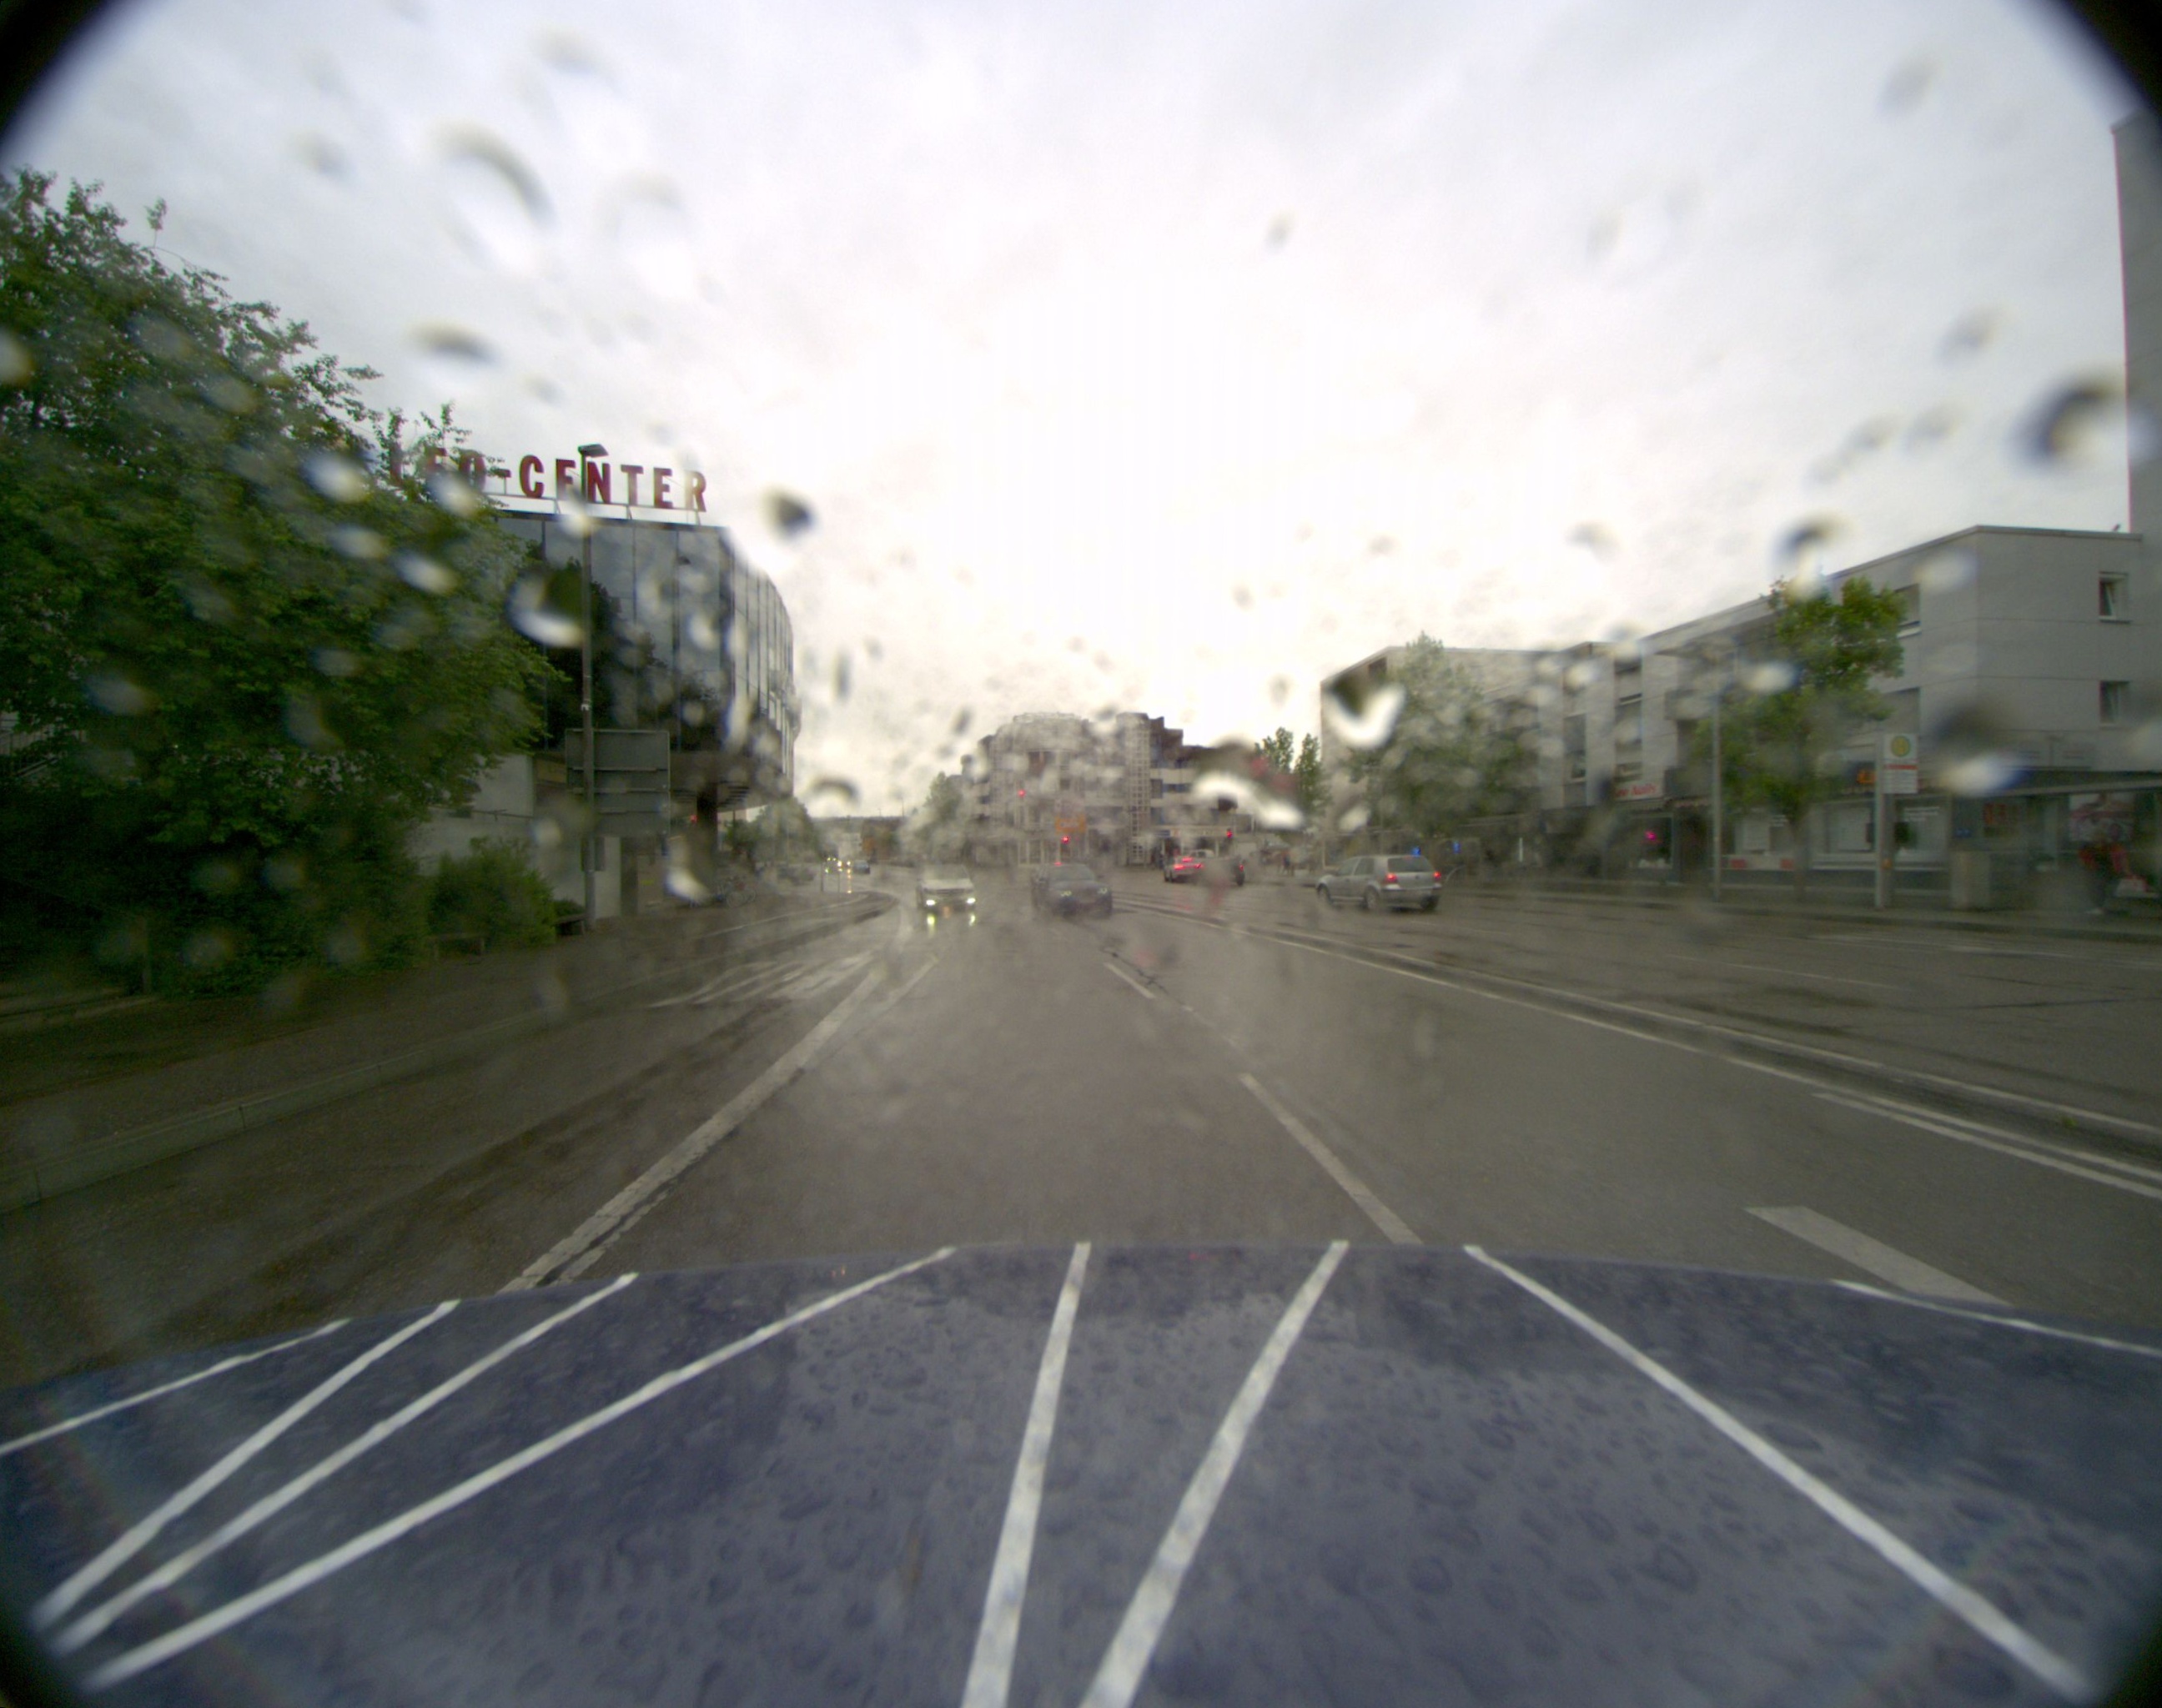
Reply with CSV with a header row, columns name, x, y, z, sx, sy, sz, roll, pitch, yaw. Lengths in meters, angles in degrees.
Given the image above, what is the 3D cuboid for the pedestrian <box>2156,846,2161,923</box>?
name,x,y,z,sx,sy,sz,roll,pitch,yaw
pedestrian,19.175,0.526,13.070,0.536,1.344,0.578,-1,1,-2

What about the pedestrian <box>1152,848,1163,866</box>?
name,x,y,z,sx,sy,sz,roll,pitch,yaw
pedestrian,7.168,0.271,71.302,0.838,1.733,0.585,-2,1,-2

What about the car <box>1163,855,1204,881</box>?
name,x,y,z,sx,sy,sz,roll,pitch,yaw
car,6.011,0.776,45.058,1.762,1.418,4.887,-1,0,0

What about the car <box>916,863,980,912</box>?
name,x,y,z,sx,sy,sz,roll,pitch,yaw
car,-4.799,1.121,26.943,1.764,1.540,4.321,-1,0,-16

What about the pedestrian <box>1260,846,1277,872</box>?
name,x,y,z,sx,sy,sz,roll,pitch,yaw
pedestrian,14.222,0.369,57.690,0.906,1.904,0.977,-1,0,-8

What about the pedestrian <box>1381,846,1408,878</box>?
name,x,y,z,sx,sy,sz,roll,pitch,yaw
pedestrian,16.312,0.398,39.542,1.010,1.636,0.726,-2,1,-8

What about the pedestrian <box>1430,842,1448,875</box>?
name,x,y,z,sx,sy,sz,roll,pitch,yaw
pedestrian,18.845,0.227,40.032,0.549,1.740,0.680,-1,0,-6

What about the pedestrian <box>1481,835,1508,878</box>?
name,x,y,z,sx,sy,sz,roll,pitch,yaw
pedestrian,19.414,0.115,35.676,0.760,2.002,0.864,-1,0,-5

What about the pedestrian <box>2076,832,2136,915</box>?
name,x,y,z,sx,sy,sz,roll,pitch,yaw
pedestrian,19.087,0.348,14.155,0.537,1.496,0.614,-2,1,-31

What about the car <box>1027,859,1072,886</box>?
name,x,y,z,sx,sy,sz,roll,pitch,yaw
car,-1.859,1.073,43.789,1.764,1.442,3.995,-1,-1,-14

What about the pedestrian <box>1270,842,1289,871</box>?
name,x,y,z,sx,sy,sz,roll,pitch,yaw
pedestrian,13.770,0.170,52.642,0.906,2.002,0.977,-1,0,-8

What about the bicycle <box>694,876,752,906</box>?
name,x,y,z,sx,sy,sz,roll,pitch,yaw
bicycle,-13.201,1.372,28.055,1.807,1.078,0.684,1,-1,-10

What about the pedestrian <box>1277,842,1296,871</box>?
name,x,y,z,sx,sy,sz,roll,pitch,yaw
pedestrian,14.344,0.159,53.041,0.906,2.002,0.977,-1,0,-8

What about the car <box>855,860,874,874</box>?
name,x,y,z,sx,sy,sz,roll,pitch,yaw
car,-24.866,1.493,87.090,1.903,1.517,3.994,-1,0,-18

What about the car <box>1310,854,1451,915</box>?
name,x,y,z,sx,sy,sz,roll,pitch,yaw
car,7.845,0.738,20.368,1.705,1.457,4.100,0,0,-8

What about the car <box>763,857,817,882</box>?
name,x,y,z,sx,sy,sz,roll,pitch,yaw
car,-24.935,1.300,65.087,4.196,2.002,1.793,-1,0,-21

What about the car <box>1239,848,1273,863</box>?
name,x,y,z,sx,sy,sz,roll,pitch,yaw
car,21.569,0.161,93.652,3.900,1.710,1.744,-1,0,-26

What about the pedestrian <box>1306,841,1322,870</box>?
name,x,y,z,sx,sy,sz,roll,pitch,yaw
pedestrian,16.398,0.079,53.414,0.761,2.002,0.863,-1,0,-9

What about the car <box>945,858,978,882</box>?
name,x,y,z,sx,sy,sz,roll,pitch,yaw
car,-7.841,1.045,49.490,1.634,1.481,3.834,-1,0,-16

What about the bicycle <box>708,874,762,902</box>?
name,x,y,z,sx,sy,sz,roll,pitch,yaw
bicycle,-13.801,1.356,30.331,1.836,1.104,0.693,0,1,-10

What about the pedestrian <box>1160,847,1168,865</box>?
name,x,y,z,sx,sy,sz,roll,pitch,yaw
pedestrian,7.958,0.217,72.905,0.682,1.733,0.585,-2,1,18

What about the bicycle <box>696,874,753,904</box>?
name,x,y,z,sx,sy,sz,roll,pitch,yaw
bicycle,-13.547,1.326,28.911,1.816,1.104,0.693,1,0,-10

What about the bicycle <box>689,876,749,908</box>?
name,x,y,z,sx,sy,sz,roll,pitch,yaw
bicycle,-13.002,1.362,27.361,1.816,1.104,0.693,1,0,-10

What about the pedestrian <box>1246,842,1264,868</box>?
name,x,y,z,sx,sy,sz,roll,pitch,yaw
pedestrian,13.159,0.064,57.509,0.906,1.904,0.976,-1,0,-12

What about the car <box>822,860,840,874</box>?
name,x,y,z,sx,sy,sz,roll,pitch,yaw
car,-28.598,1.462,87.103,1.903,1.517,3.994,-1,0,-18

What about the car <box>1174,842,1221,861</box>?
name,x,y,z,sx,sy,sz,roll,pitch,yaw
car,12.600,-0.281,81.944,4.603,2.002,1.996,-1,0,-23

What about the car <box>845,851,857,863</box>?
name,x,y,z,sx,sy,sz,roll,pitch,yaw
car,-33.738,0.476,111.232,1.585,1.630,3.635,-1,0,-17

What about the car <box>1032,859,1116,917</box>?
name,x,y,z,sx,sy,sz,roll,pitch,yaw
car,-0.306,0.944,22.398,1.678,1.534,3.909,-1,-1,-12

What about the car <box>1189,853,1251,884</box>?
name,x,y,z,sx,sy,sz,roll,pitch,yaw
car,6.891,0.726,38.067,1.763,1.418,3.997,-1,-1,-10
